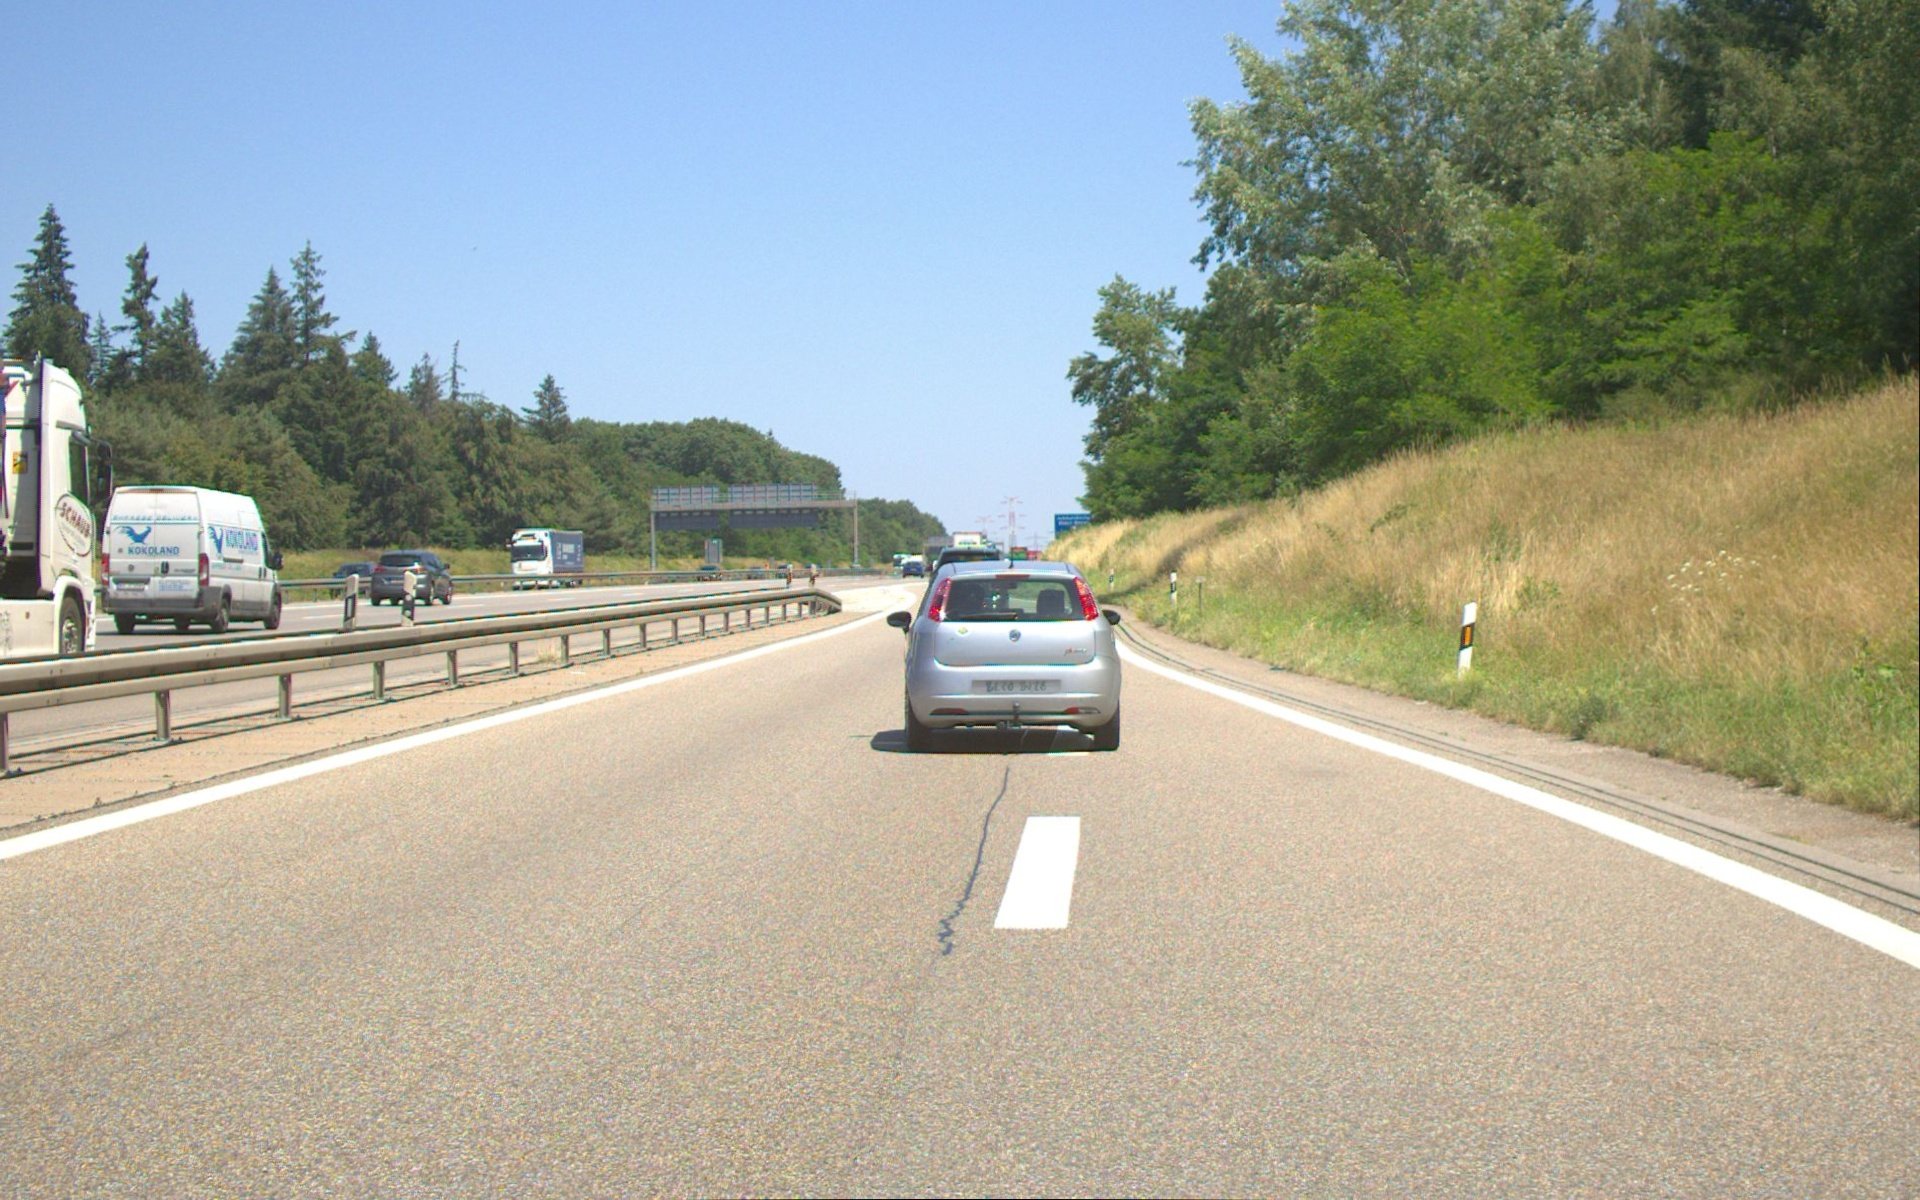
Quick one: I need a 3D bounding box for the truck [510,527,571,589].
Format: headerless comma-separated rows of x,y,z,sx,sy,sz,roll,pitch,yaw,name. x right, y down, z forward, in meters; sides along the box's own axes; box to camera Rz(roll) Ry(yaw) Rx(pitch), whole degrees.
-28.683,-2.831,235.413,2.586,4.113,9.322,0,0,3,truck

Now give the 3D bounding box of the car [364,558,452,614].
-16.599,-0.402,103.518,1.993,1.612,4.000,0,0,0,car

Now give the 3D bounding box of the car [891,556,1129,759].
0.343,0.412,27.572,1.706,1.476,3.398,0,1,-3,car

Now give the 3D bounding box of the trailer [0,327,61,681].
-11.822,-0.969,34.024,2.771,3.794,9.885,0,1,3,trailer

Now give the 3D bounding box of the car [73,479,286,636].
-14.953,-0.755,66.294,2.632,2.887,6.475,0,0,0,car

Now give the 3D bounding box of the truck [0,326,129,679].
-11.540,-1.088,39.226,2.757,3.794,4.621,0,1,3,truck

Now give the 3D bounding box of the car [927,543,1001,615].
0.077,-0.484,82.565,1.706,1.670,3.397,0,-1,-1,car
